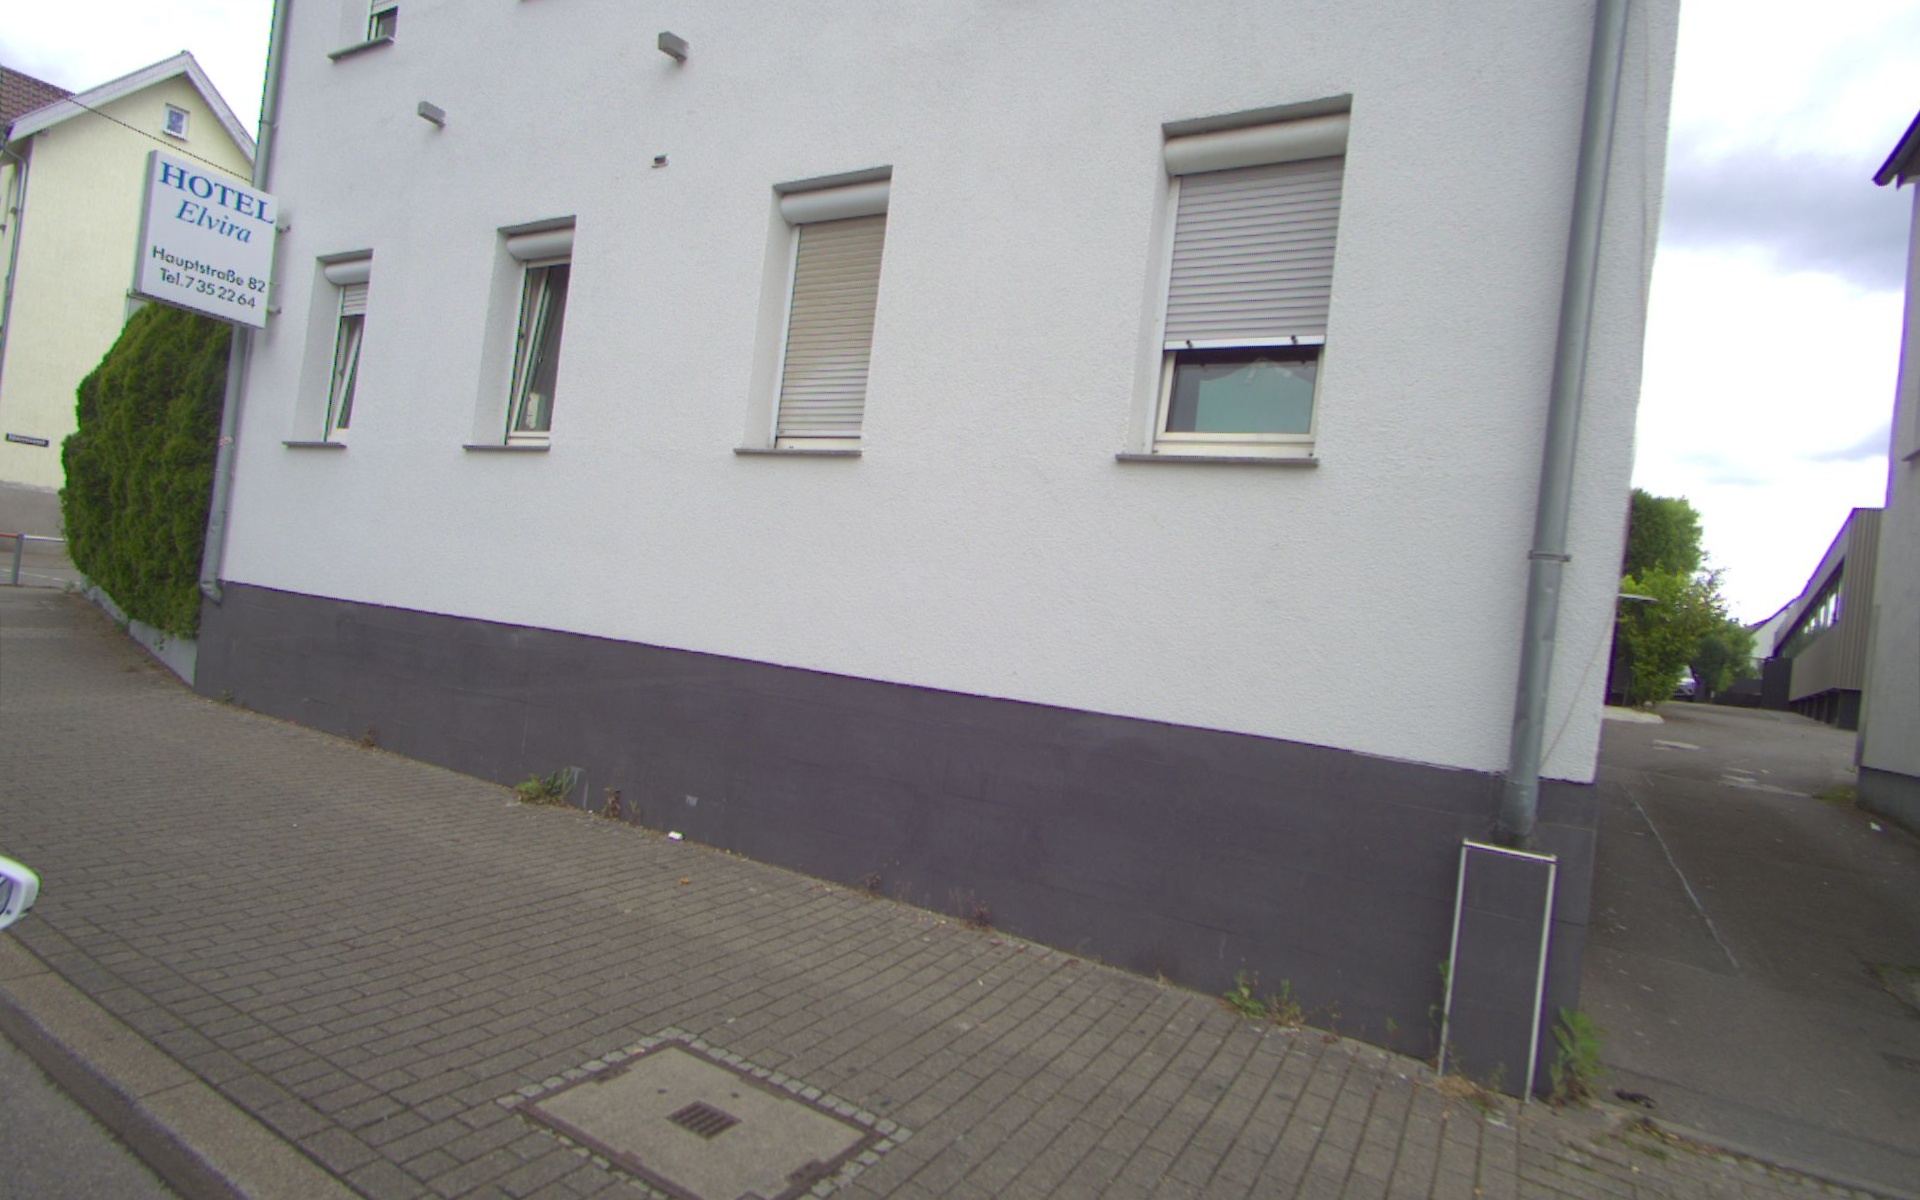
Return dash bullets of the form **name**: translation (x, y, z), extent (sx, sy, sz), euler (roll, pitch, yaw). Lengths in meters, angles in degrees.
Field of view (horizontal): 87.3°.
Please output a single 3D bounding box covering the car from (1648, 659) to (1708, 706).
- **car**: translation (32.309, 3.731, 45.215), extent (1.970, 1.636, 3.989), euler (6, -3, 37)
